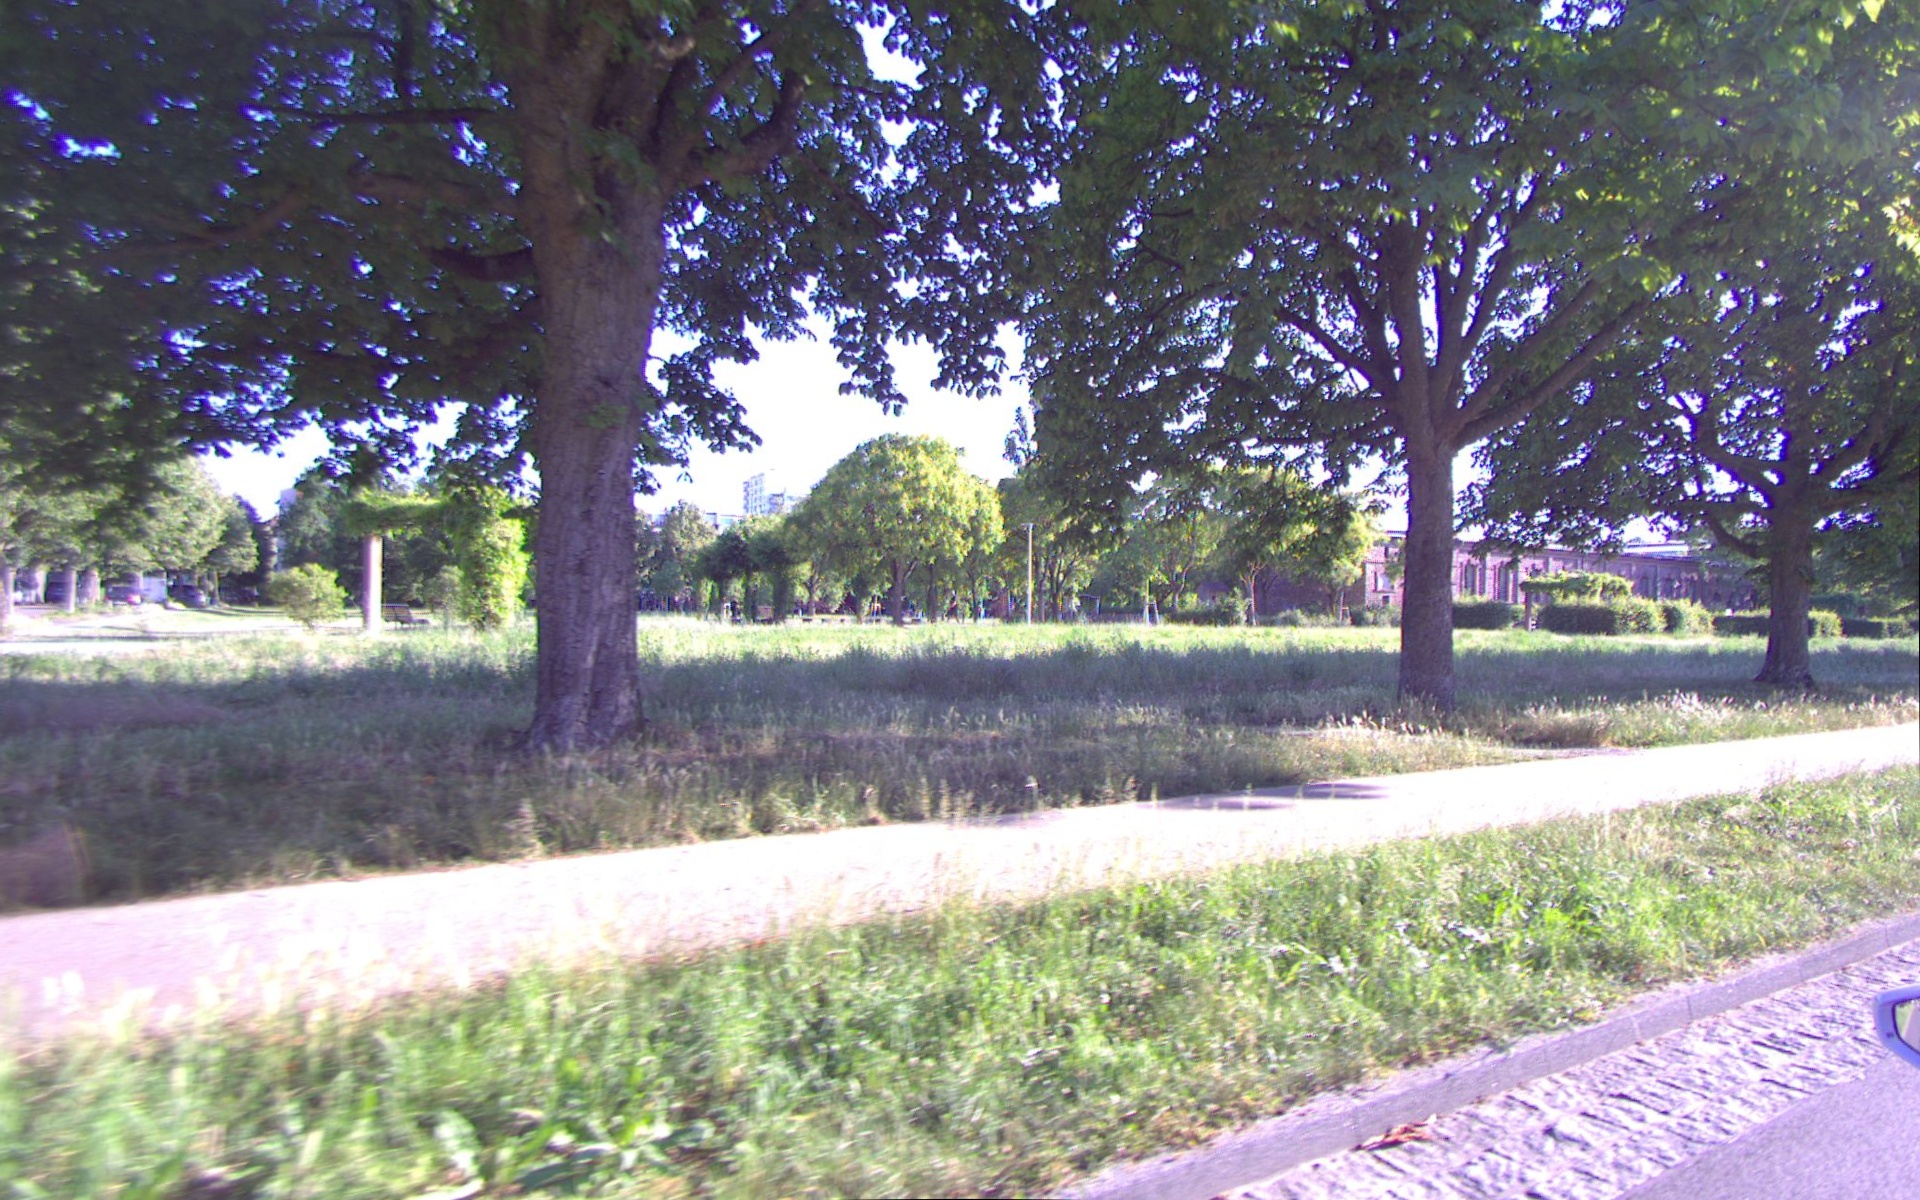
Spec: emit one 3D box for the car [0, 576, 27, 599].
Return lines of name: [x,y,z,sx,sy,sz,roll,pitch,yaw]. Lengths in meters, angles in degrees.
car: [-55.661,-0.742,58.109,1.567,1.297,3.613,2,0,-28]

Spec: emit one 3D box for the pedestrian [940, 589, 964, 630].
pedestrian: [-0.349,0.411,44.222,0.764,1.747,0.714,2,0,32]

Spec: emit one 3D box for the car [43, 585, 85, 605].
car: [-63.582,-0.351,71.297,1.569,1.297,3.608,2,0,-31]
